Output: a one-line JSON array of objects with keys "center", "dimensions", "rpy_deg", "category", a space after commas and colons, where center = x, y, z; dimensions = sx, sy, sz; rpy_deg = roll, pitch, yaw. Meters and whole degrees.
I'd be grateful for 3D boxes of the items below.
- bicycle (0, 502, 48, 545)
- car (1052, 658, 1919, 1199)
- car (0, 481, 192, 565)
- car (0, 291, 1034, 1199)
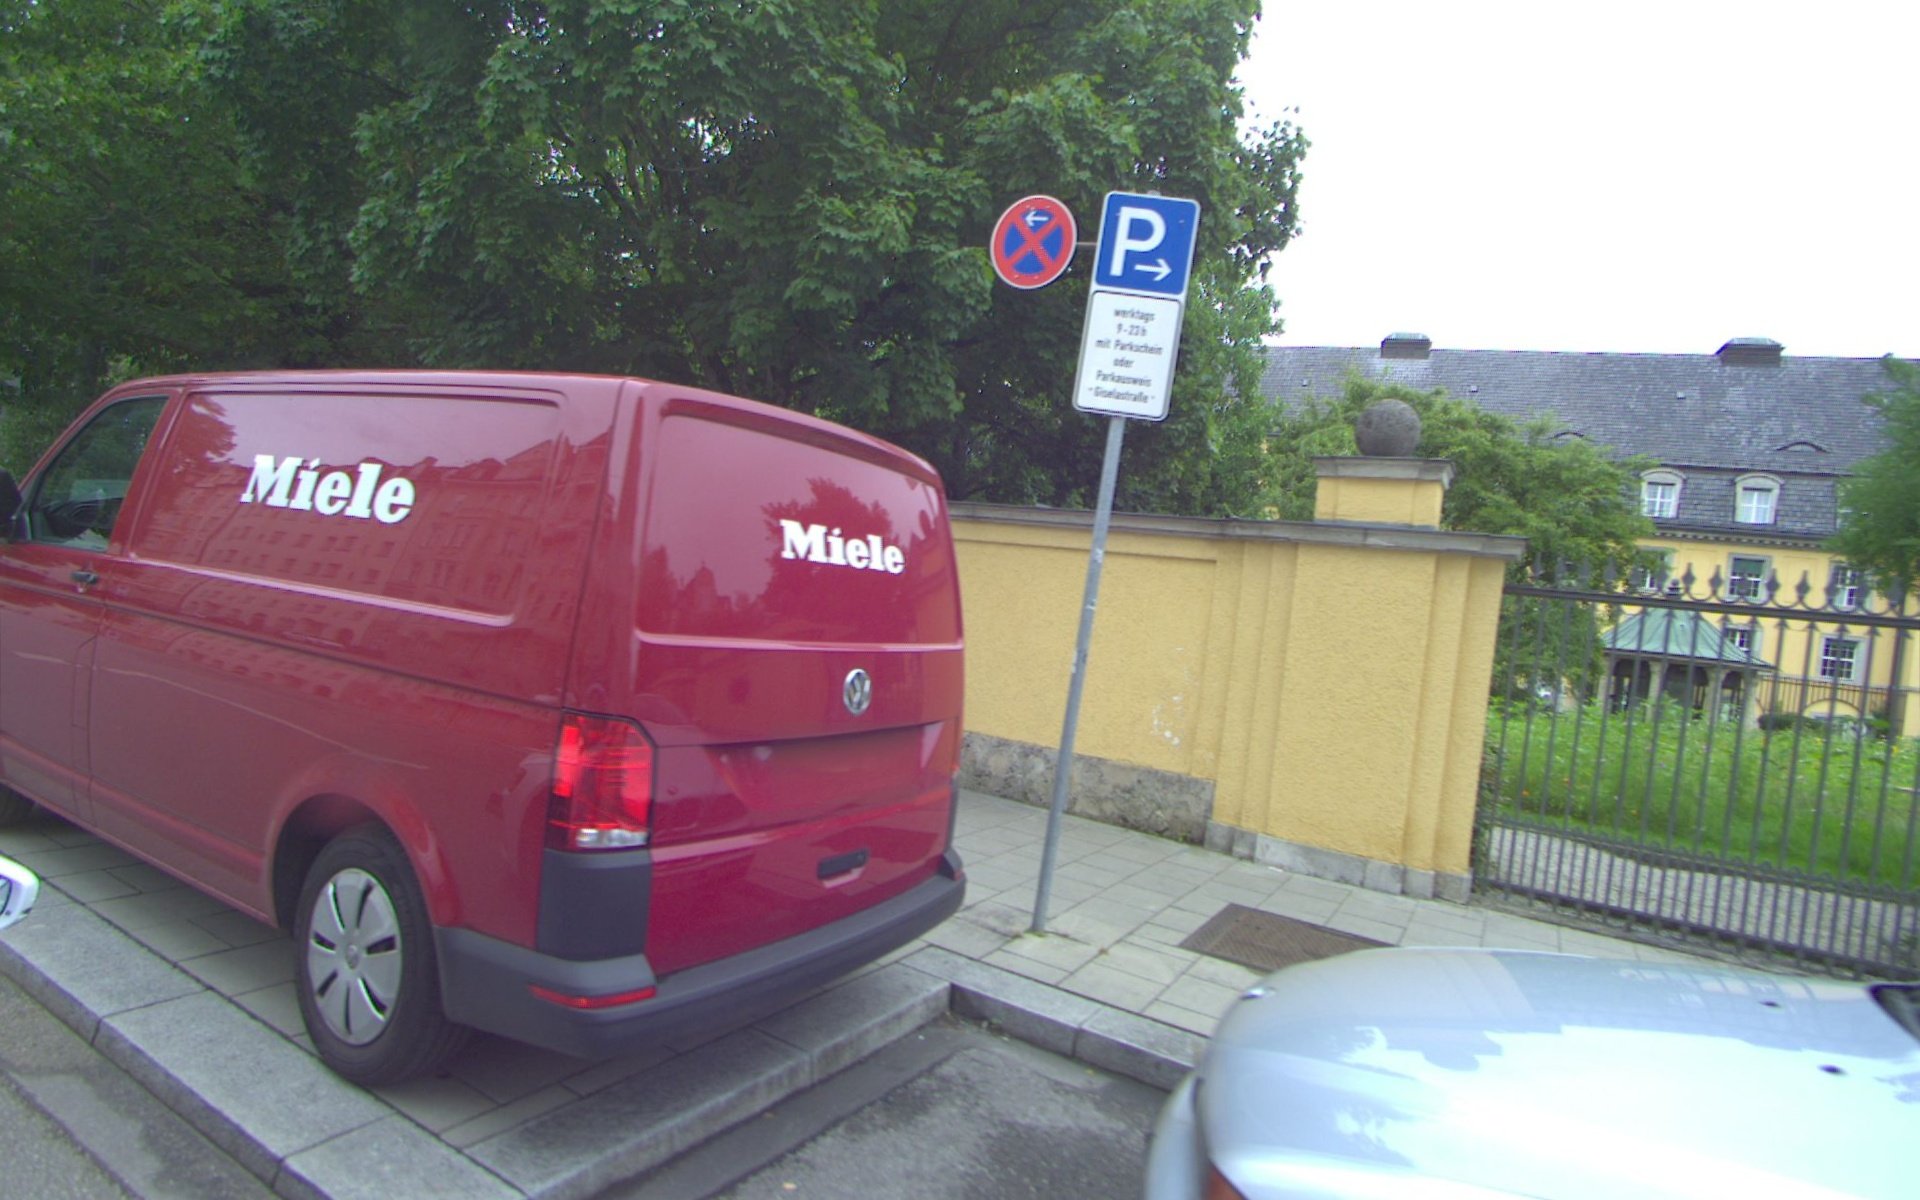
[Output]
[{"center": [-29.639, -2.424, 31.362], "dimensions": [1.797, 1.163, 0.537], "rpy_deg": [7, 1, 0], "category": "bicycle"}, {"center": [2.450, 1.128, 1.302], "dimensions": [4.293, 1.465, 1.890], "rpy_deg": [7, -2, 28], "category": "car"}, {"center": [-27.279, -2.364, 31.440], "dimensions": [1.802, 1.941, 4.849], "rpy_deg": [6, -1, 21], "category": "car"}, {"center": [-2.365, 0.172, 4.095], "dimensions": [4.805, 1.943, 1.878], "rpy_deg": [7, -1, 30], "category": "car"}]
